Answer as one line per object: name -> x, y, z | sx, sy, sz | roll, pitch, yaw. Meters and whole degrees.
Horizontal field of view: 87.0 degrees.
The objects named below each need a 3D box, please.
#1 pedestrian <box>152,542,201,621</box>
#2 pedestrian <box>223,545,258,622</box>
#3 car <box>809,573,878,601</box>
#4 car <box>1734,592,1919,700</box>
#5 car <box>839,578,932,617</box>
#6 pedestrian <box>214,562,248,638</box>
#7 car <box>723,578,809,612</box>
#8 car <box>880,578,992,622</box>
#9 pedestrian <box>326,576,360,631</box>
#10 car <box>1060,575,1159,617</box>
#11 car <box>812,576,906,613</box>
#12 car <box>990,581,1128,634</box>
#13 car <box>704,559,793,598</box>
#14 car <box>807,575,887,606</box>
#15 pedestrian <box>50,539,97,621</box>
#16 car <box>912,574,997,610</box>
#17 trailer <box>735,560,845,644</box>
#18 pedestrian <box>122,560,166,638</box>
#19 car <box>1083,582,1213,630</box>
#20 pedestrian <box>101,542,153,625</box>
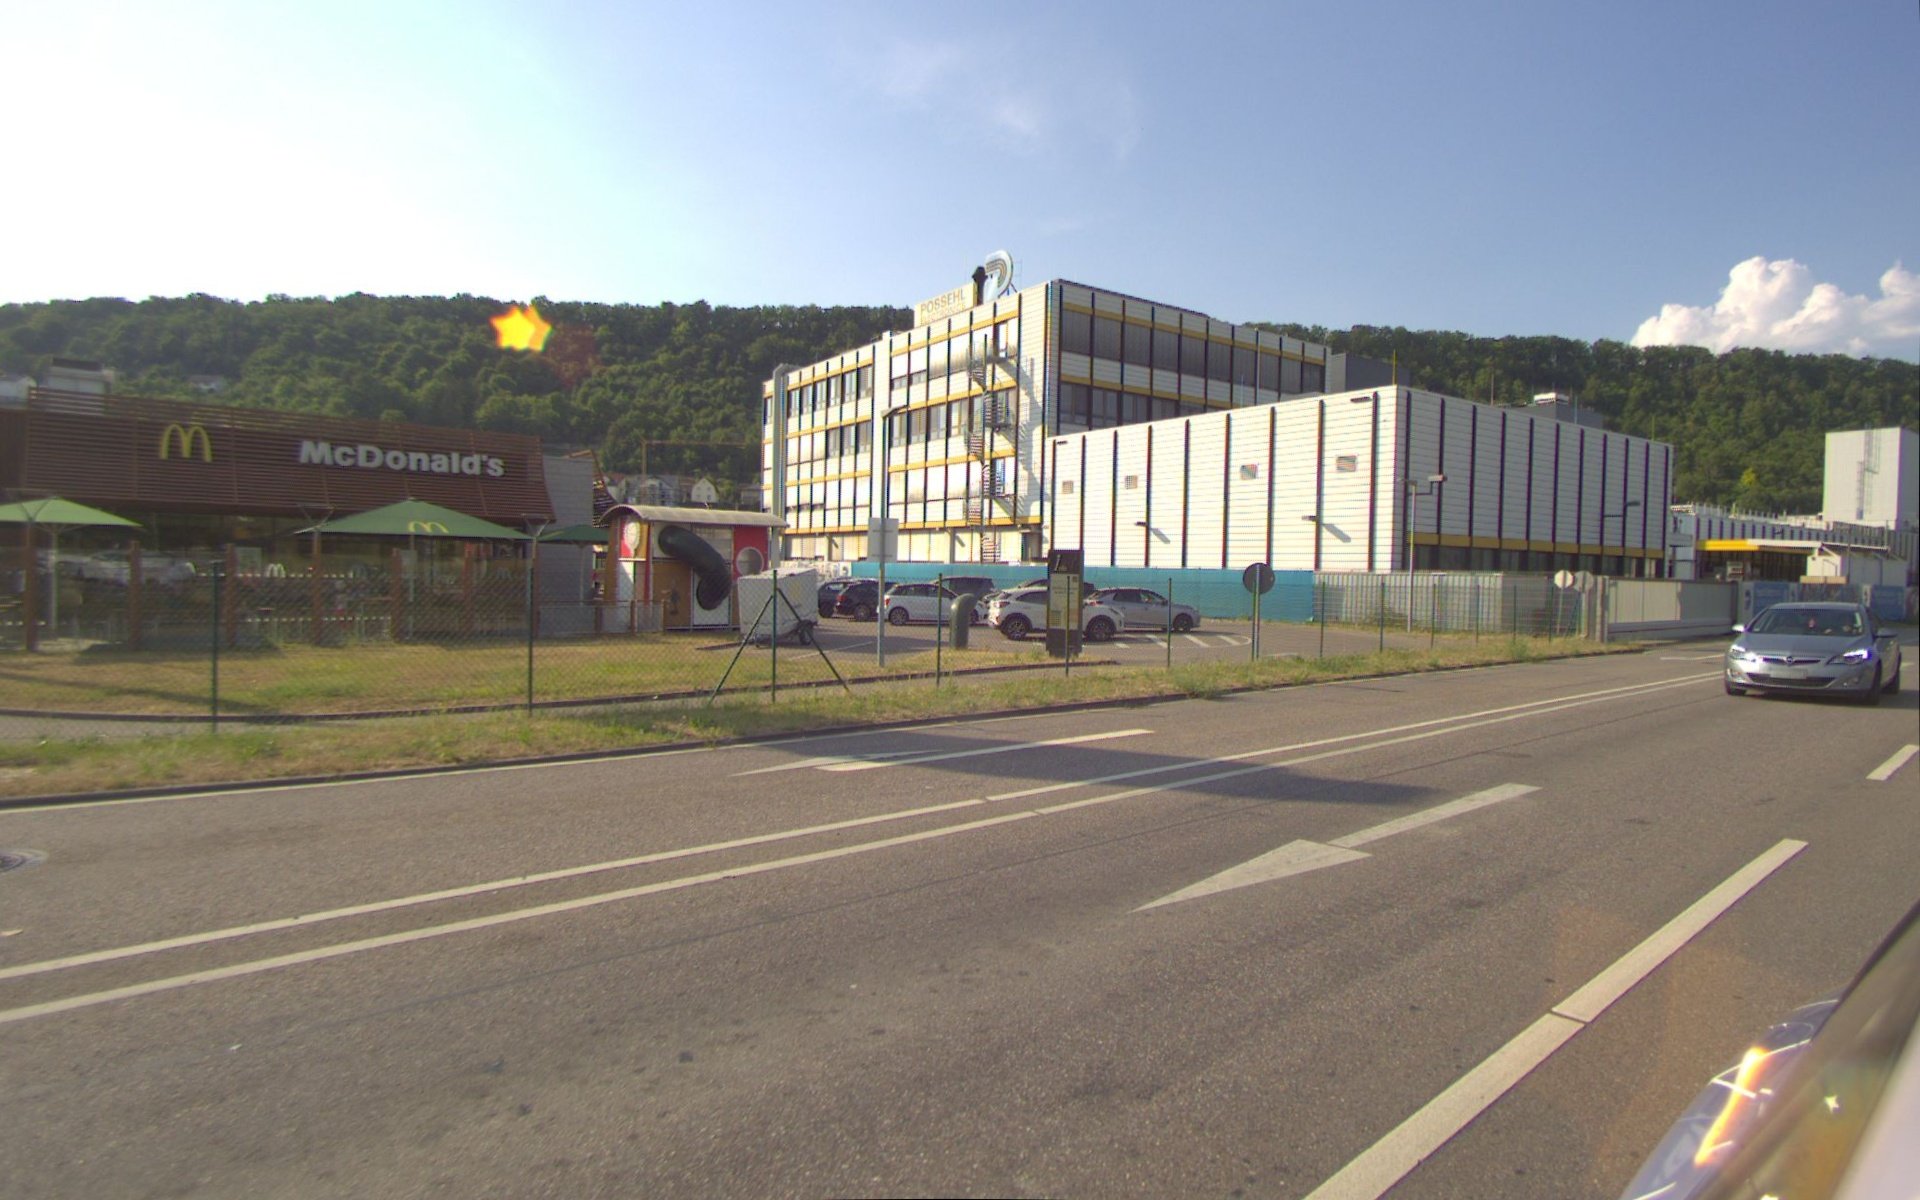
pedestrian -> -20.634, -0.479, 26.645 | 0.726, 2.039, 0.759 | 0, 0, 18
pedestrian -> -19.284, -0.433, 27.114 | 0.749, 2.039, 0.735 | 0, 0, -37
car -> -5.735, -0.659, 49.631 | 3.312, 1.343, 1.564 | 0, 0, -9
car -> 13.414, 0.604, 15.524 | 3.816, 1.408, 1.690 | 0, 2, -41
car -> -2.772, -0.115, 37.389 | 3.312, 1.405, 1.459 | 0, 0, -9
pedestrian -> -19.898, -0.013, 27.617 | 0.749, 2.039, 0.735 | 0, 0, -37
car -> -8.369, -0.234, 43.900 | 3.595, 1.433, 1.799 | 0, 0, -9
car -> -0.872, 0.000, 35.156 | 3.698, 1.473, 1.701 | 0, 0, -9
pedestrian -> -15.289, 0.083, 25.066 | 0.587, 1.354, 0.672 | 0, 0, -45
car -> 5.738, -0.165, 38.862 | 3.356, 1.549, 1.701 | 0, 0, -15
car -> -4.041, -0.221, 40.059 | 3.595, 1.433, 1.799 | 0, 0, -9
car -> 2.918, 0.210, 30.409 | 3.828, 1.524, 1.879 | 0, 0, -5
car -> -12.963, -1.299, 62.031 | 5.059, 2.259, 2.015 | 0, 0, -23
car -> -5.277, -0.450, 47.119 | 3.595, 1.433, 1.799 | 0, 0, -9
pedestrian -> -22.502, -0.508, 25.680 | 0.731, 2.039, 0.754 | 0, 0, 35
car -> -0.252, -0.335, 42.528 | 3.358, 1.473, 1.701 | 0, 0, -9
trailer -> -4.320, 0.033, 26.175 | 1.330, 1.972, 3.461 | 3, 1, 17
pedestrian -> -21.921, -0.035, 27.175 | 0.758, 2.039, 0.727 | 0, 0, 33
car -> 6.163, 0.176, 33.438 | 3.827, 1.524, 1.880 | 0, 0, -7
pedestrian -> -21.069, -0.414, 25.606 | 0.726, 2.039, 0.759 | 0, 0, 18
